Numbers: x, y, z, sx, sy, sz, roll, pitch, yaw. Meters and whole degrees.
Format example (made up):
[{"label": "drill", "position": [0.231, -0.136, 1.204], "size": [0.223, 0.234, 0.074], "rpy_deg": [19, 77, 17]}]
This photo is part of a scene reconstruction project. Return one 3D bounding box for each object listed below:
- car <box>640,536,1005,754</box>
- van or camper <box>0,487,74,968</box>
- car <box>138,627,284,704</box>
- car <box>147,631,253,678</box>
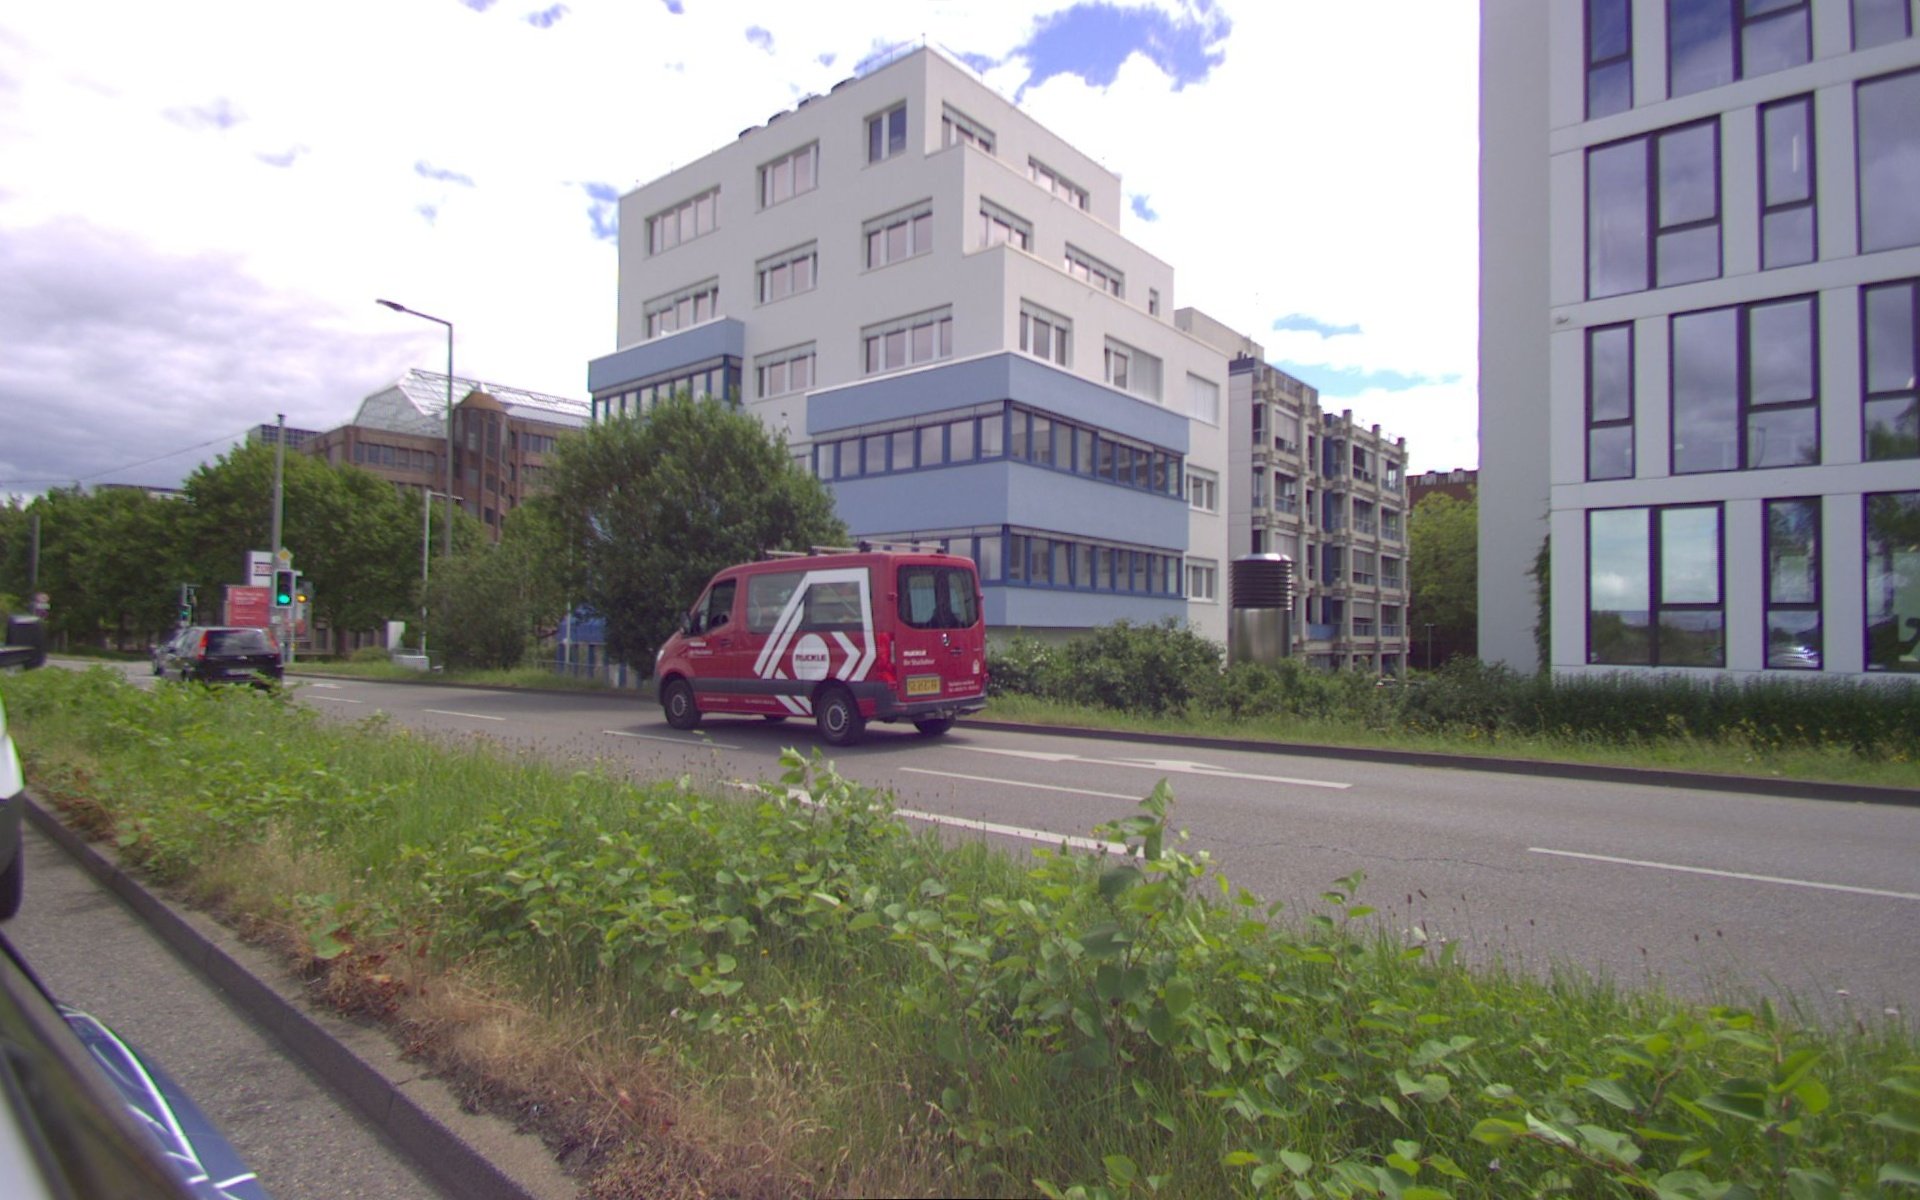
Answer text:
[{"label": "car", "position": [-2.044, 0.567, 13.805], "size": [5.238, 2.430, 1.973], "rpy_deg": [-1, -2, 41]}, {"label": "van or camper", "position": [-6.805, 0.571, 5.464], "size": [5.791, 2.029, 1.974], "rpy_deg": [-2, -3, 38]}, {"label": "car", "position": [-15.963, 1.327, 21.501], "size": [3.998, 1.494, 1.661], "rpy_deg": [-2, -2, 41]}, {"label": "car", "position": [-24.430, 1.700, 32.475], "size": [3.997, 1.409, 1.913], "rpy_deg": [-2, -2, 41]}]
